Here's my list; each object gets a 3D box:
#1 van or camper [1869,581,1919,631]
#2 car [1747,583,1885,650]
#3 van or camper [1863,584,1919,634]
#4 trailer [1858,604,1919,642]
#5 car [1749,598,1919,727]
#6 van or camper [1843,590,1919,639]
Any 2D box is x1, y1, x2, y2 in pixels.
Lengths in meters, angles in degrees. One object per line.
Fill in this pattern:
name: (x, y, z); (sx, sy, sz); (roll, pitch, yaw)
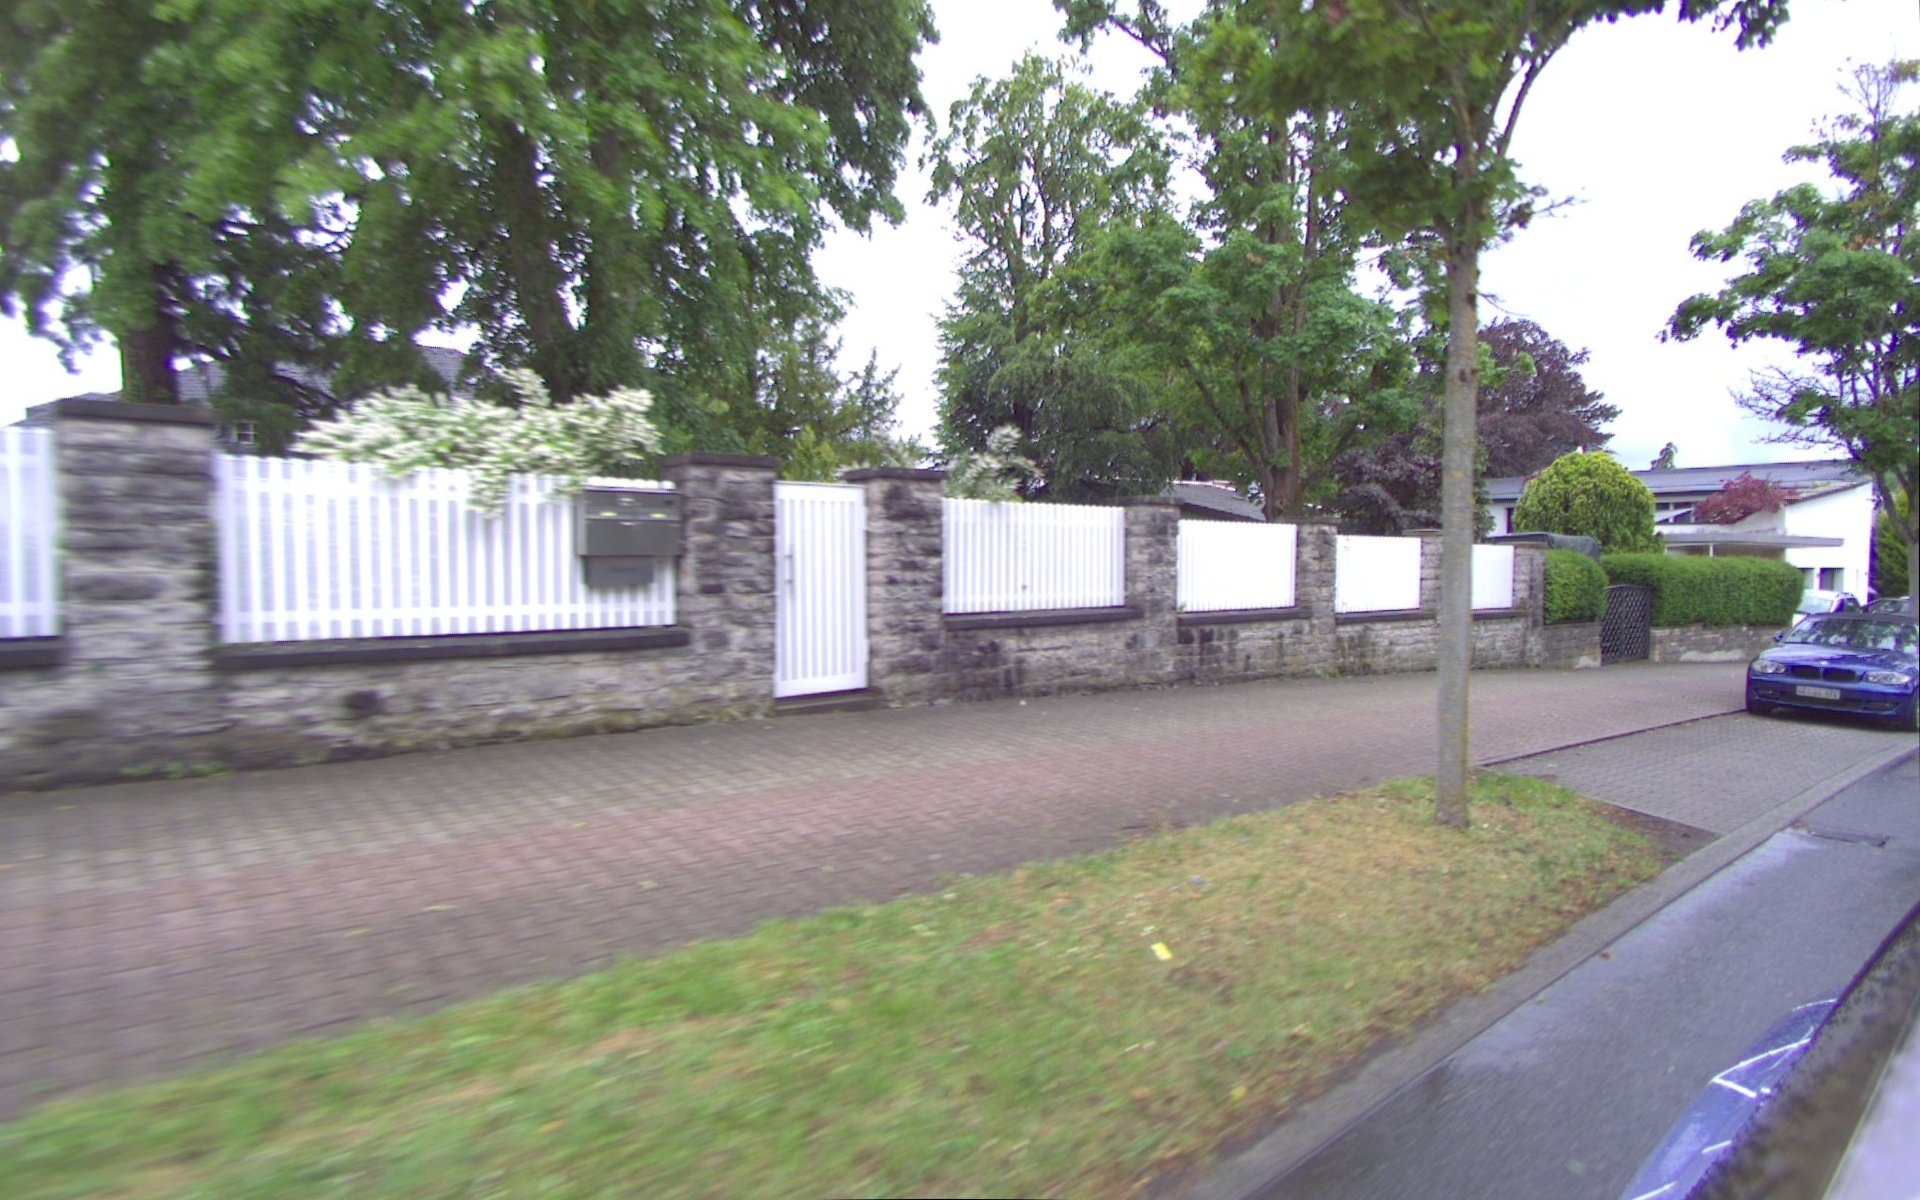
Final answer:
van or camper: (38.300, 0.343, 39.212); (1.907, 1.809, 4.037); (1, 5, -27)
car: (24.882, 0.443, 29.356); (4.848, 1.779, 1.801); (0, 2, -34)
van or camper: (36.487, 0.442, 37.453); (2.081, 1.697, 4.008); (0, 5, -30)
trailer: (31.727, 0.737, 34.056); (3.213, 0.931, 1.427); (-1, 10, -35)
car: (12.126, 0.724, 13.472); (3.759, 1.394, 1.646); (0, 3, -38)
van or camper: (33.966, 0.546, 36.050); (1.735, 1.574, 3.416); (0, 4, -35)
